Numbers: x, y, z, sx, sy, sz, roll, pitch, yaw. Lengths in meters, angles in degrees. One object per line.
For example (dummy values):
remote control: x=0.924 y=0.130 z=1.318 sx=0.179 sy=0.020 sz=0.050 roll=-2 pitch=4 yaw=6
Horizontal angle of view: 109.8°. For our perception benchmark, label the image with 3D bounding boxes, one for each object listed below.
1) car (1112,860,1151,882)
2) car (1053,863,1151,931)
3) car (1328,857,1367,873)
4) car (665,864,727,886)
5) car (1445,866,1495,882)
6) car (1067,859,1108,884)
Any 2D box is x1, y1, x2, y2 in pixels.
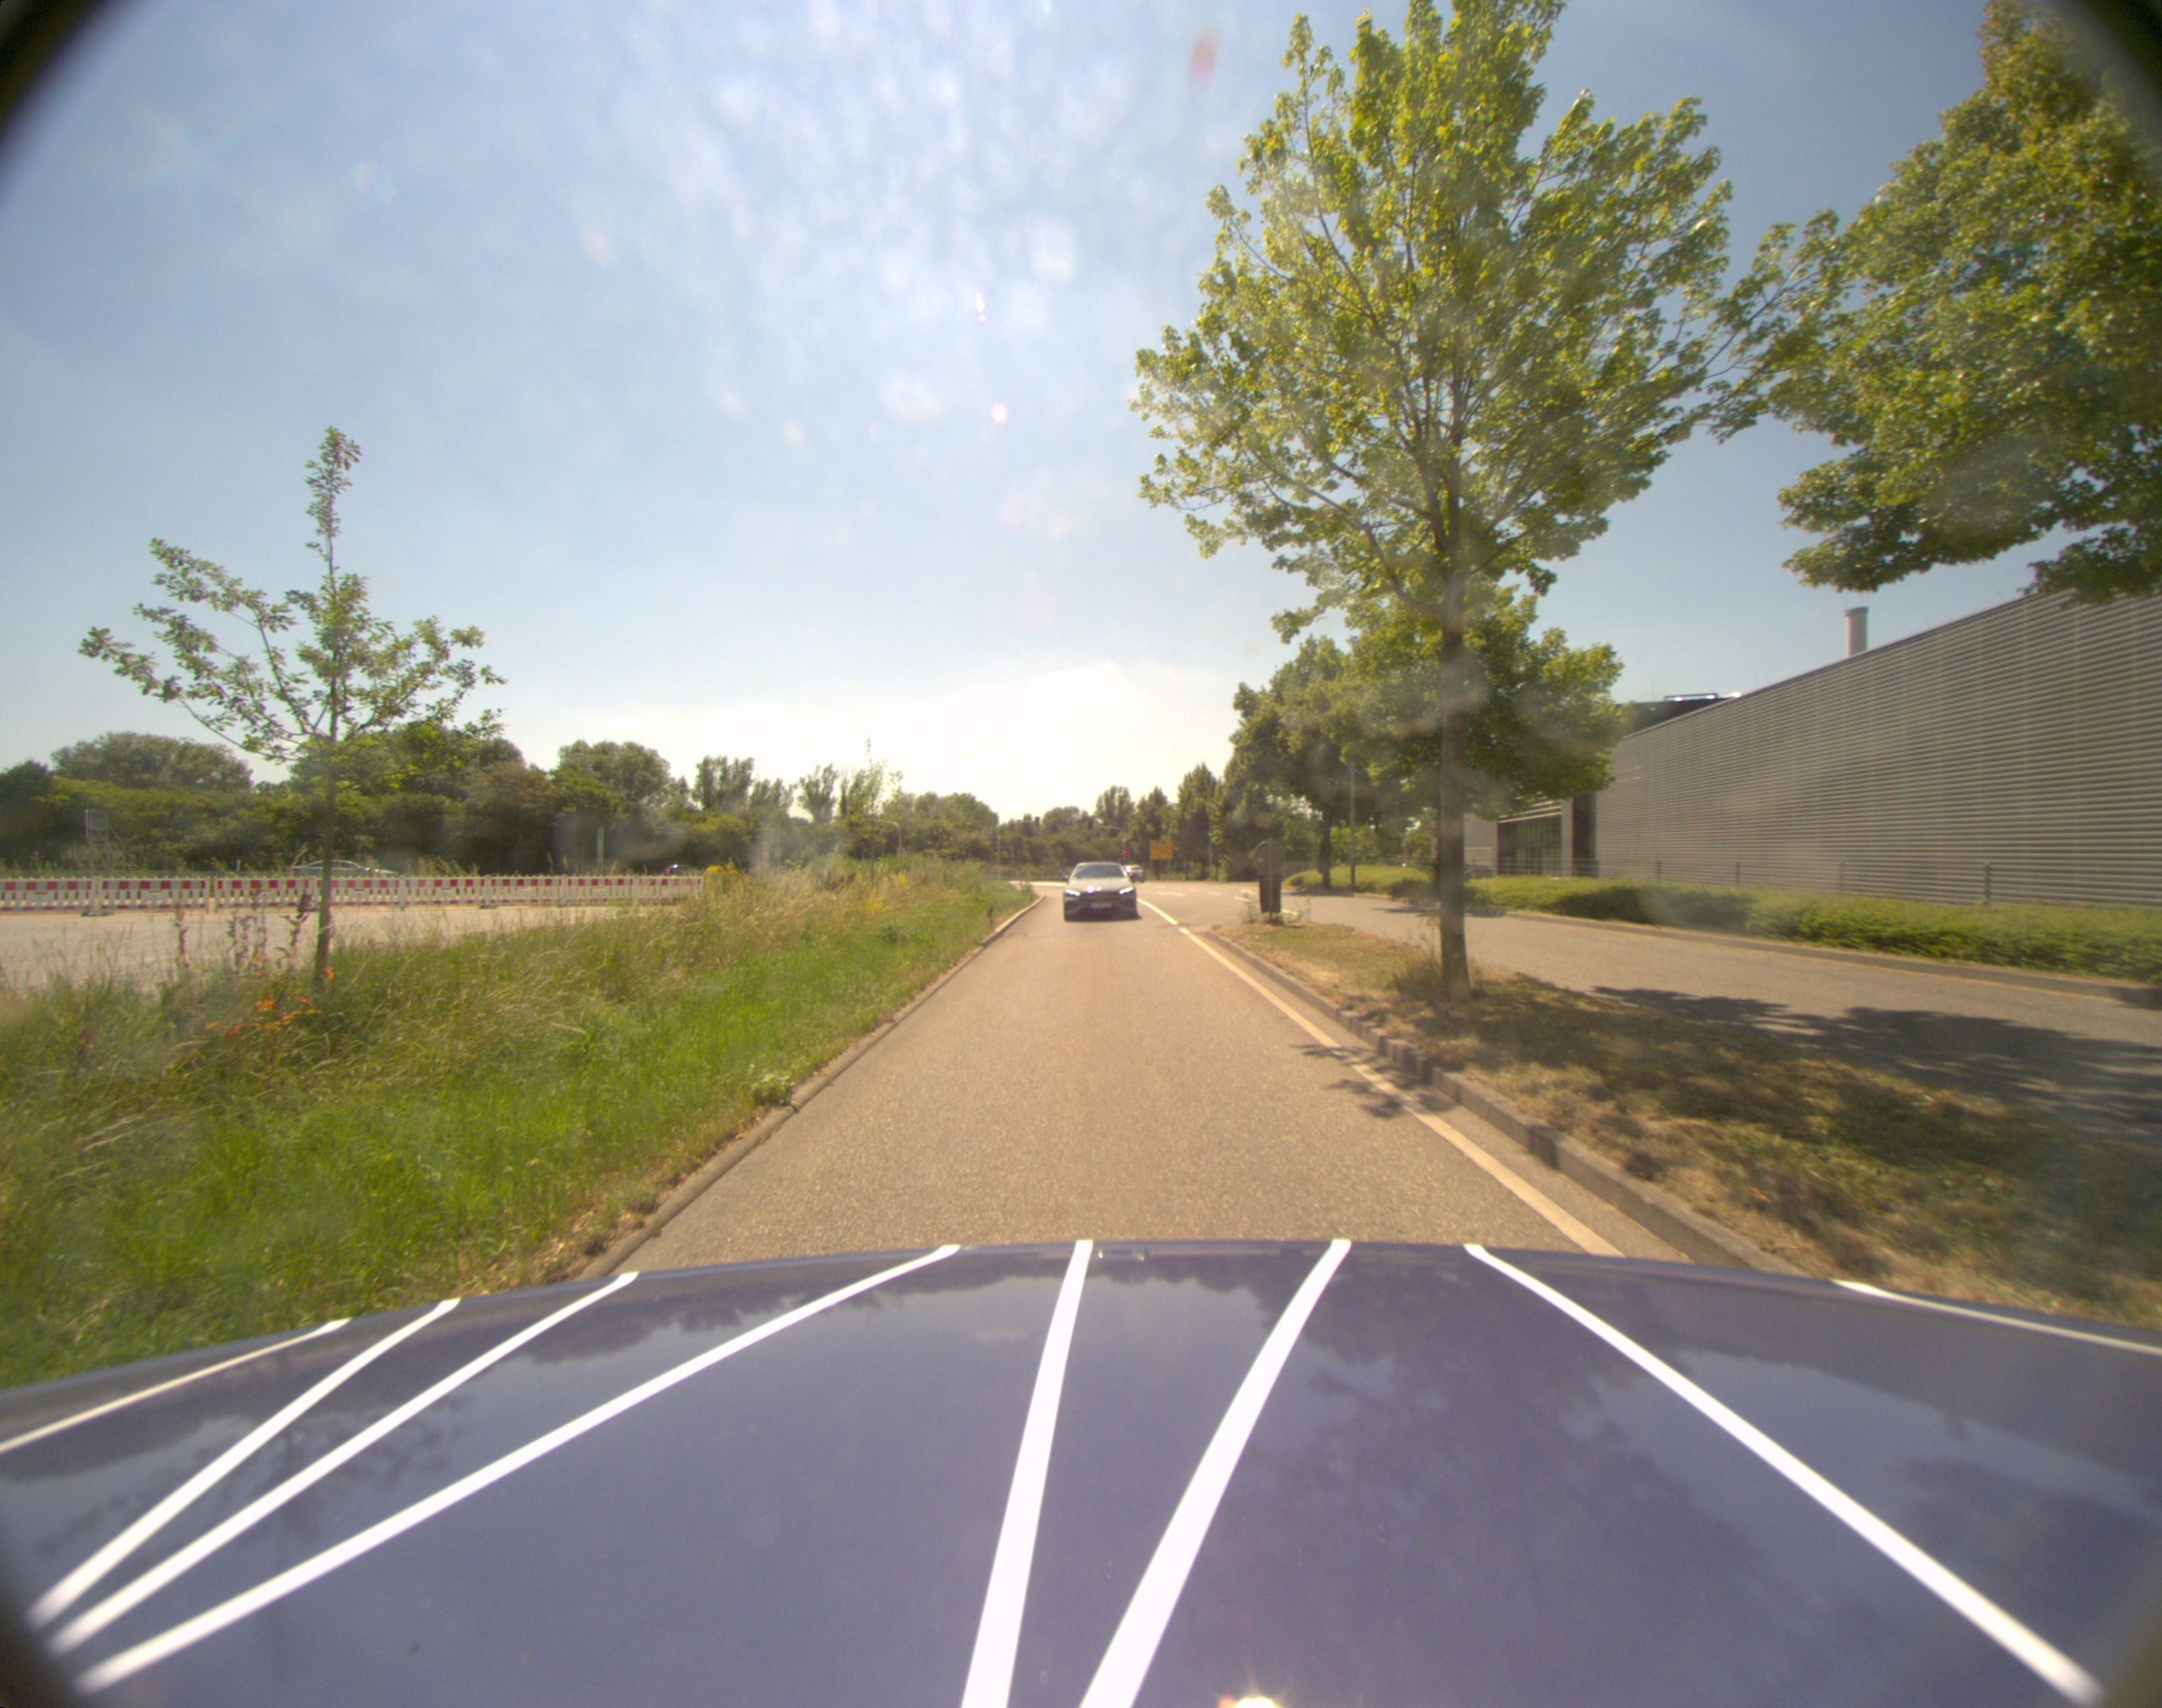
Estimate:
car: x=4.351 y=1.439 z=66.159 sx=2.001 sy=1.697 sz=3.859 roll=-4 pitch=1 yaw=-17
car: x=0.675 y=1.017 z=19.595 sx=1.920 sy=1.433 sz=4.485 roll=-3 pitch=-1 yaw=9
car: x=30.878 y=1.260 z=88.110 sx=3.993 sy=1.695 sz=2.003 roll=0 pitch=-2 yaw=12
car: x=-30.260 y=1.663 z=59.756 sx=4.010 sy=1.629 sz=1.777 roll=3 pitch=-3 yaw=-43
car: x=38.577 y=1.963 z=75.444 sx=3.993 sy=1.476 sz=2.003 roll=0 pitch=-2 yaw=12
car: x=0.507 y=1.454 z=64.636 sx=2.001 sy=1.932 sz=4.863 roll=-4 pitch=1 yaw=-17
